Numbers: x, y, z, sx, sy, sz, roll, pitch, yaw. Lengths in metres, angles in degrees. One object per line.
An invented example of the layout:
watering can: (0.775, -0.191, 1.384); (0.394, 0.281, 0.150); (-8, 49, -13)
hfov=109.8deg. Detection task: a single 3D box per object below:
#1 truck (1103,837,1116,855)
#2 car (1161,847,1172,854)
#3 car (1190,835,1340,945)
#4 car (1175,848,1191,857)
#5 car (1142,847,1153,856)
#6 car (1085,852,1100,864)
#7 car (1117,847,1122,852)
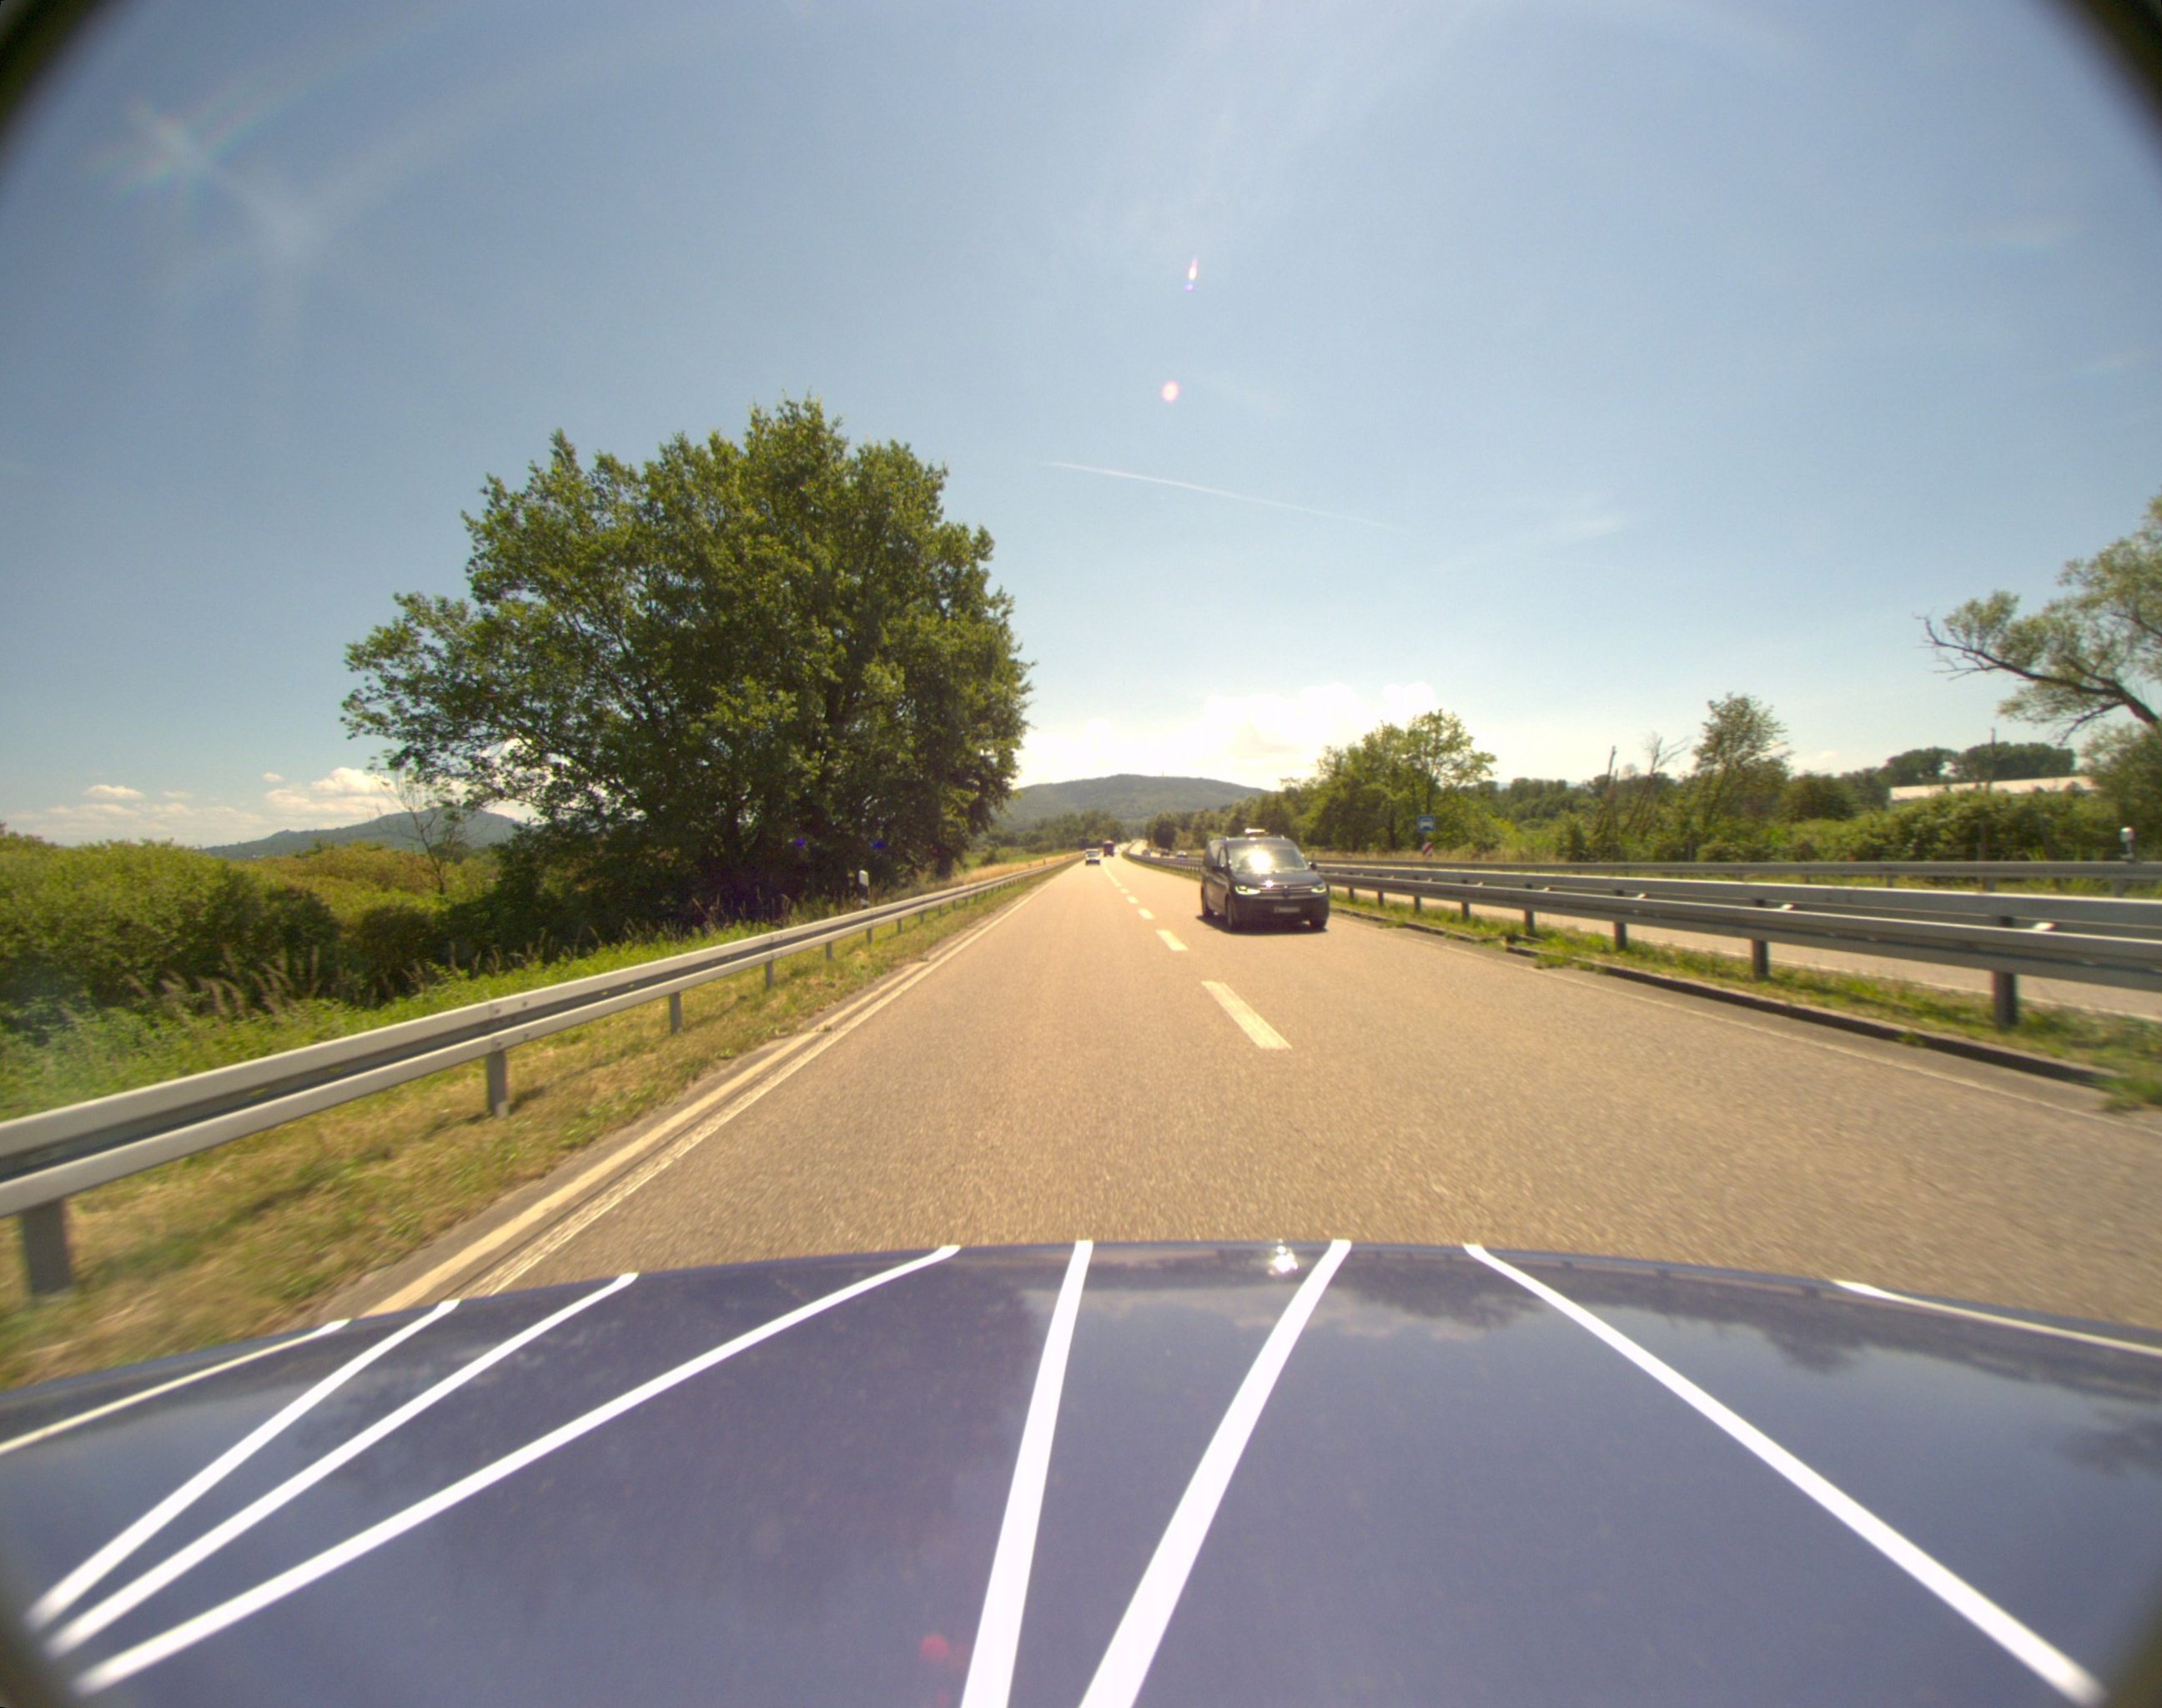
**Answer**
truck: (7.151, -1.917, 187.068); (2.826, 4.143, 9.949); (-2, 1, 3)
car: (18.229, -0.751, 162.329); (1.846, 1.608, 4.171); (-2, 0, 1)
car: (3.630, 0.617, 16.131); (1.859, 1.876, 5.573); (-1, 0, 1)
car: (15.609, -0.251, 116.502); (1.929, 1.377, 4.658); (-1, 0, 2)
car: (15.254, -0.565, 174.573); (1.984, 1.797, 4.968); (-2, 0, 1)
car: (1.437, 0.499, 93.363); (1.577, 1.387, 3.486); (-2, 1, 3)
car: (12.275, -1.423, 242.380); (1.619, 1.545, 3.486); (-2, 1, 3)
